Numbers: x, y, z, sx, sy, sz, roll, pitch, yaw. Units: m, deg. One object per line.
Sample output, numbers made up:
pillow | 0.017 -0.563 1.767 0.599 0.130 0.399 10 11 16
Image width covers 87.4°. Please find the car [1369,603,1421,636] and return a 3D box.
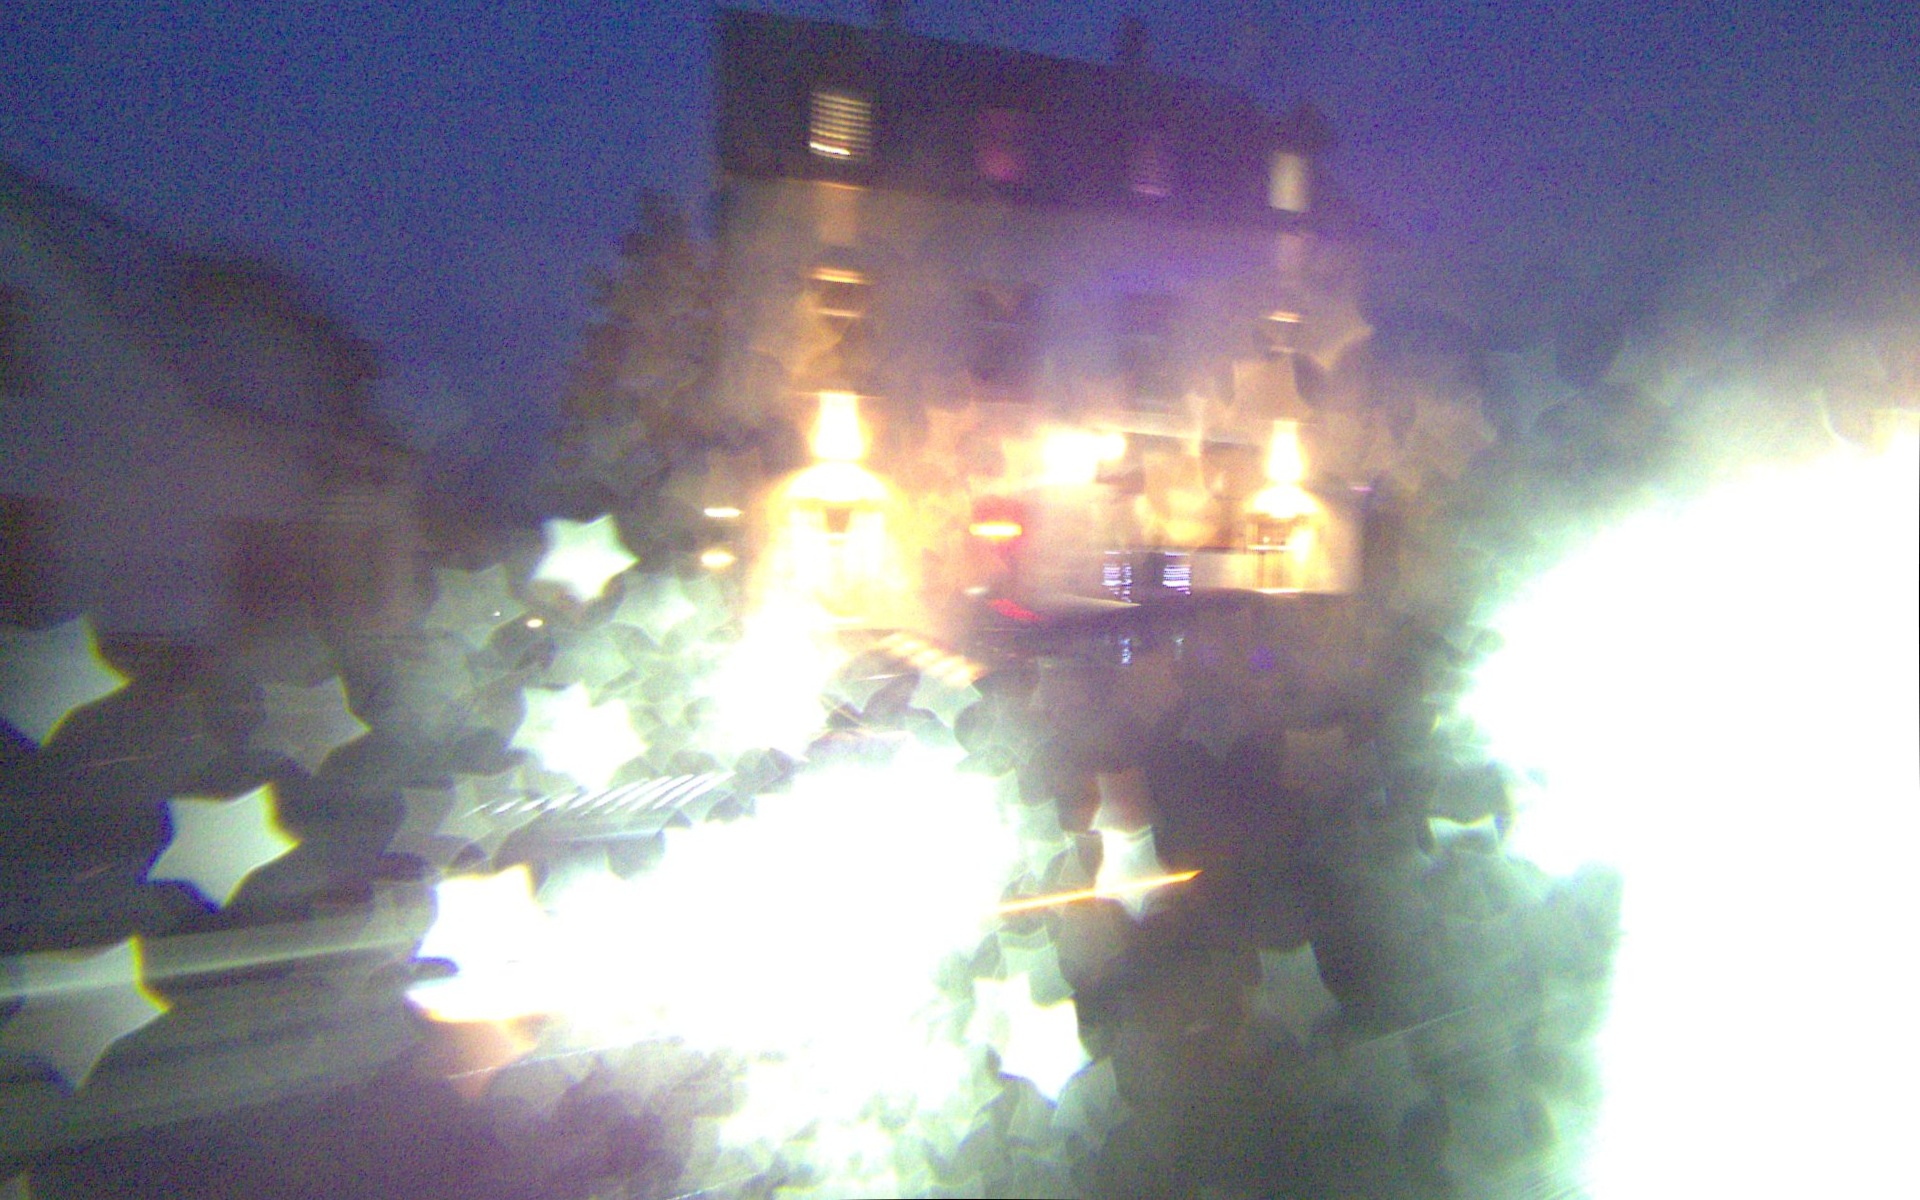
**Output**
car | 24.359 1.104 56.154 1.909 1.720 4.616 2 0 32

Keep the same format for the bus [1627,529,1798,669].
bus | 25.335 -0.031 34.547 2.850 3.920 13.037 0 0 29

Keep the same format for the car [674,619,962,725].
car | -2.160 1.040 15.169 4.080 1.416 1.689 0 -3 -15

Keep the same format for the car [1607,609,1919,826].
car | 7.571 0.853 8.910 3.828 1.496 1.702 0 1 -34

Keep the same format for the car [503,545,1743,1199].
car | 0.792 0.719 3.756 4.349 1.542 1.946 2 0 -31

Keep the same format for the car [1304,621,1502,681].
car | 11.431 1.309 25.929 4.664 1.394 1.842 2 0 -20
